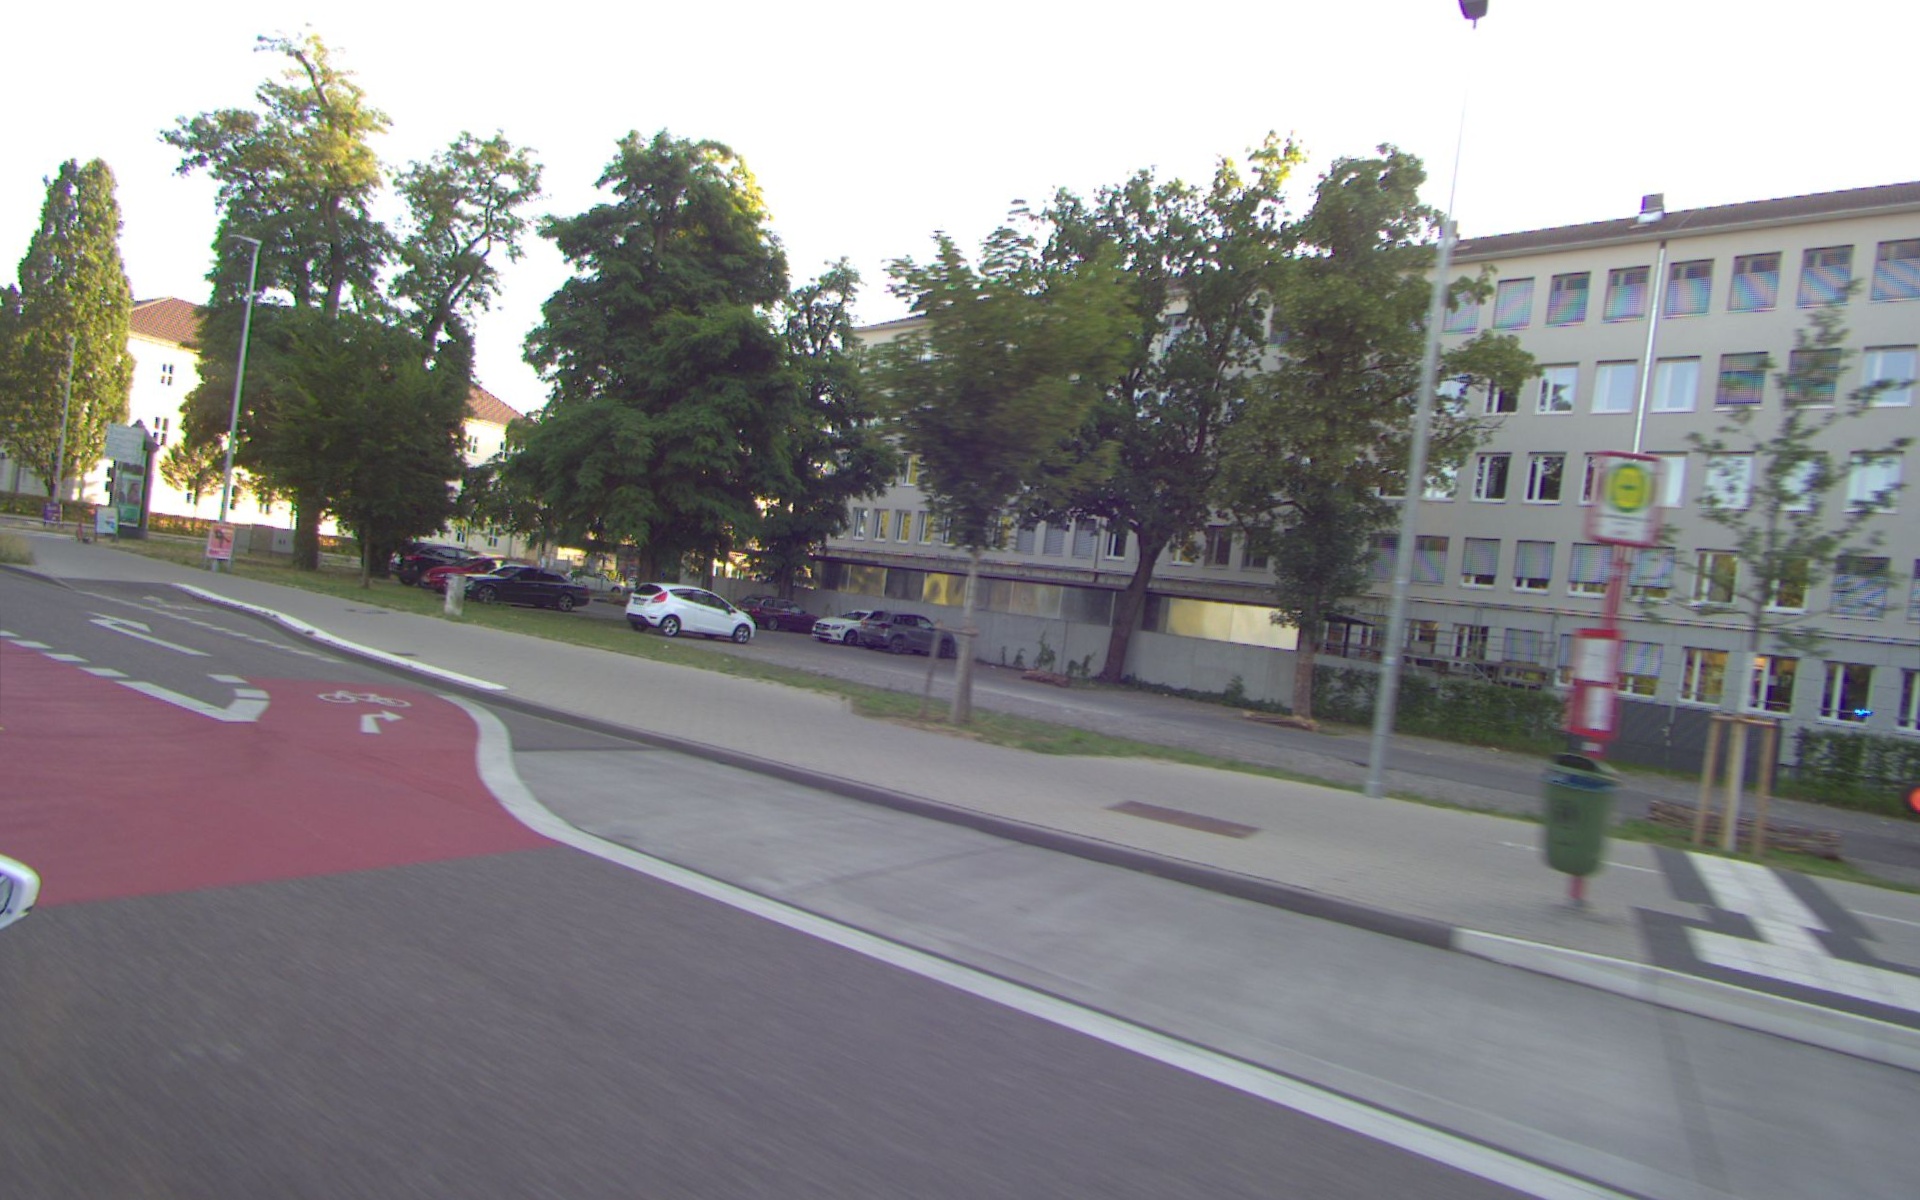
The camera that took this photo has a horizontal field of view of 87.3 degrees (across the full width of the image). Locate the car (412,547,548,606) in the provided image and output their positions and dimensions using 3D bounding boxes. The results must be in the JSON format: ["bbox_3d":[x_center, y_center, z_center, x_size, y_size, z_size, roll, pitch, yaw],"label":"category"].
[{"bbox_3d":[-17.423,-0.835,36.648,1.760,1.580,3.984,7,-1,40],"label":"car"}]

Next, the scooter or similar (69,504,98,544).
[{"bbox_3d":[-29.338,-2.545,33.685,1.290,1.246,0.311,7,0,34],"label":"scooter or similar"}]

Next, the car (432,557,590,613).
[{"bbox_3d":[-15.252,-0.466,34.385,1.872,1.467,4.567,5,-1,36],"label":"car"}]

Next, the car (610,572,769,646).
[{"bbox_3d":[-7.711,0.290,29.005,1.883,1.555,3.990,7,-2,37],"label":"car"}]

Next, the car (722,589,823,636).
[{"bbox_3d":[-8.154,0.571,44.086,1.874,1.458,3.988,7,-2,39],"label":"car"}]

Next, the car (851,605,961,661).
[{"bbox_3d":[-2.068,1.292,39.210,1.887,1.635,3.983,6,-3,42],"label":"car"}]

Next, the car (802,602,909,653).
[{"bbox_3d":[-4.145,1.139,40.402,1.807,1.492,3.985,7,-2,41],"label":"car"}]

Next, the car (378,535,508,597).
[{"bbox_3d":[-19.742,-1.282,38.572,1.809,1.714,3.899,7,-2,38],"label":"car"}]

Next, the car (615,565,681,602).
[{"bbox_3d":[-22.247,-1.145,71.837,1.714,2.037,3.988,7,-2,38],"label":"car"}]

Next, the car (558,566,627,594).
[{"bbox_3d":[-24.955,-1.362,68.455,1.794,1.358,3.985,7,-1,39],"label":"car"}]
